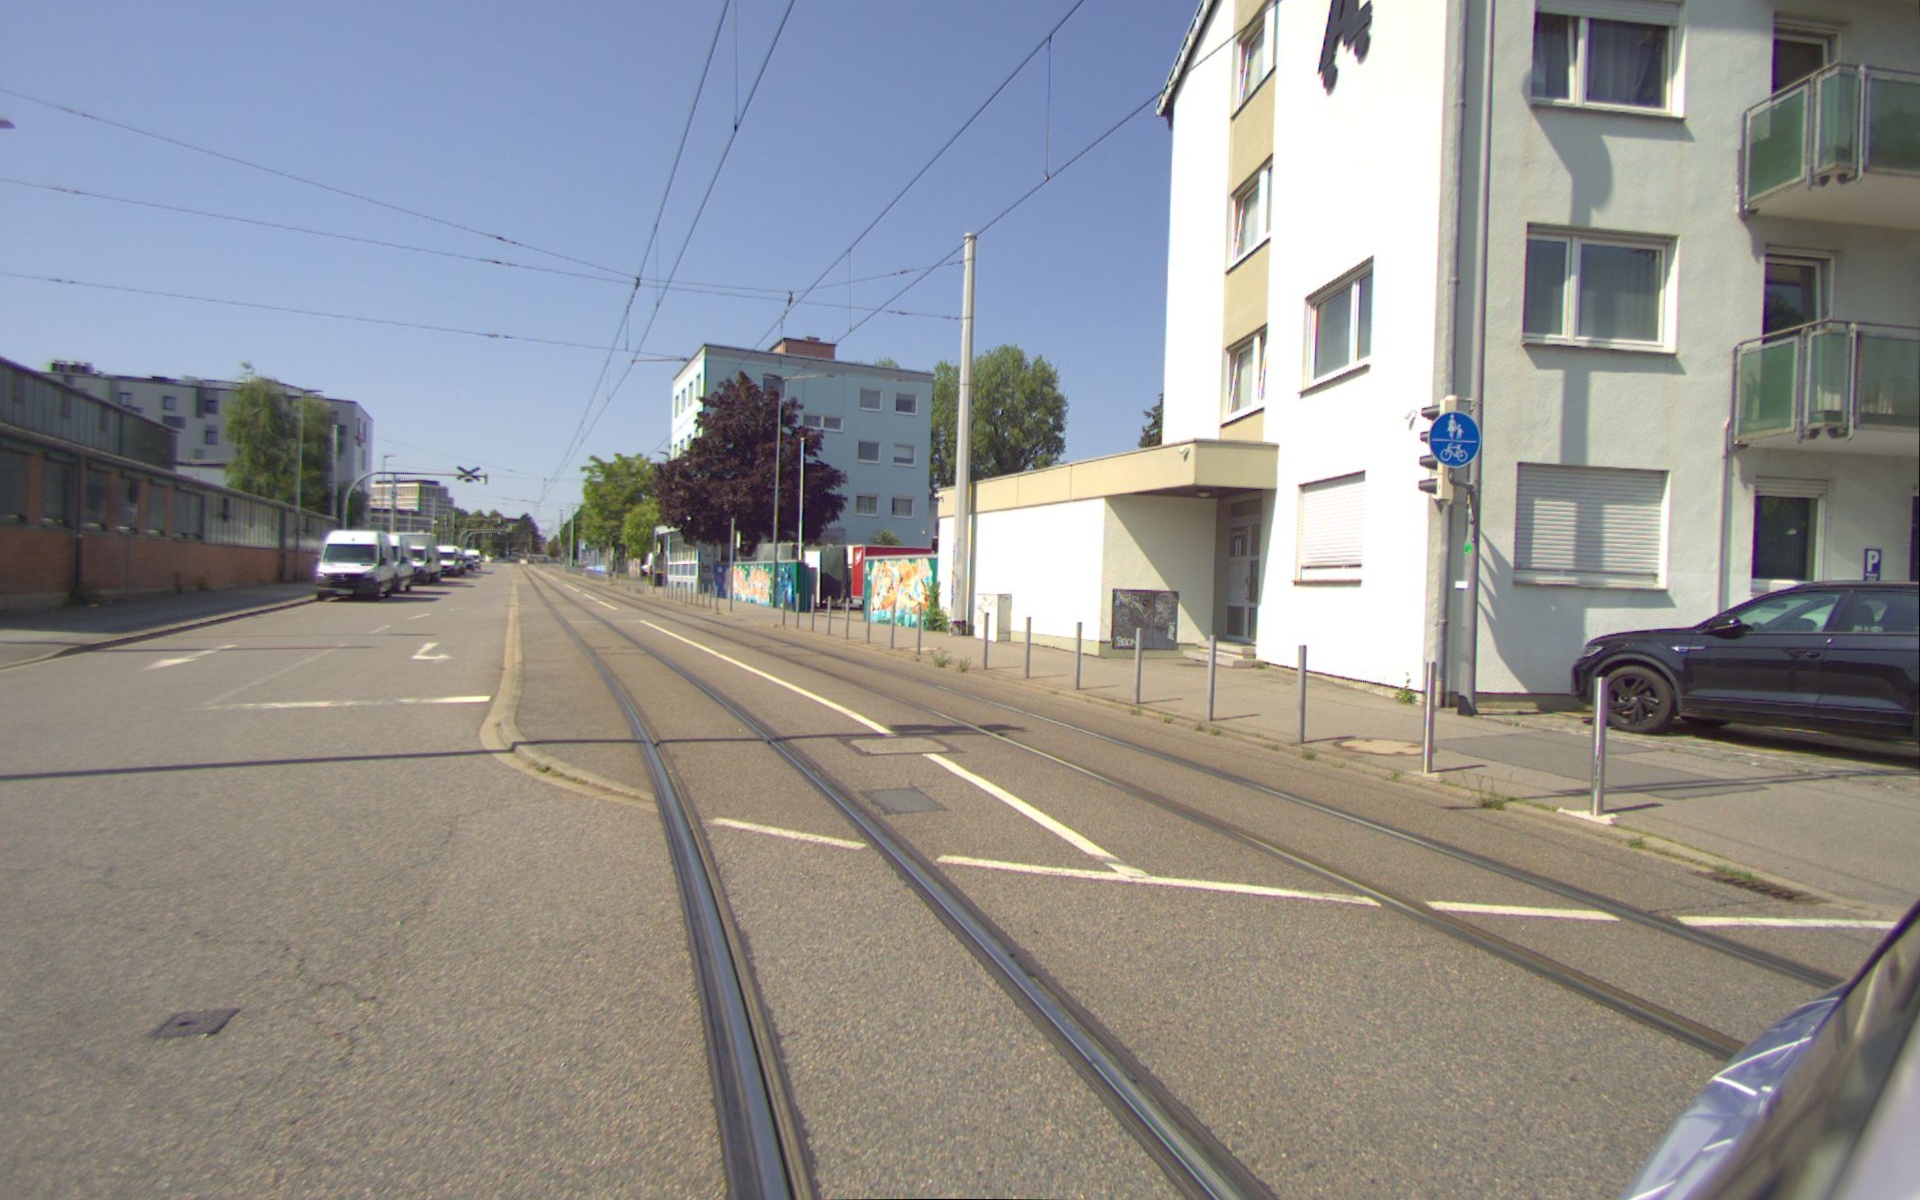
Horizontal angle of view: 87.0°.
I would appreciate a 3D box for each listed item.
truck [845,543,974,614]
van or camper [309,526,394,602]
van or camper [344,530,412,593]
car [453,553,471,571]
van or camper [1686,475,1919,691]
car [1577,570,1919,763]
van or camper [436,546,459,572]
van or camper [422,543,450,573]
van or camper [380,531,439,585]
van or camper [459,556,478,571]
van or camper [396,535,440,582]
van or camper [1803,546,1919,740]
[{"bbox_3d":[-2.083,-0.869,41.226,4.732,2.659,2.194,2,1,-19],"label":"truck"},{"bbox_3d":[-22.957,-1.361,38.373,2.001,2.565,5.881,2,1,-24],"label":"van or camper"},{"bbox_3d":[-25.908,-1.724,45.240,2.001,2.565,5.593,2,1,-24],"label":"van or camper"},{"bbox_3d":[-60.839,-4.611,123.621,1.789,2.038,3.843,2,1,-24],"label":"car"},{"bbox_3d":[18.276,-0.171,16.277,2.723,3.737,11.666,2,2,-13],"label":"van or camper"},{"bbox_3d":[8.252,0.552,9.302,1.842,1.540,3.978,2,1,-31],"label":"car"},{"bbox_3d":[-47.661,-3.820,94.157,1.789,2.239,4.267,2,1,-27],"label":"van or camper"},{"bbox_3d":[-42.483,-3.399,82.126,1.918,2.239,4.917,2,1,-27],"label":"van or camper"},{"bbox_3d":[-31.896,-2.437,58.880,2.472,2.821,7.131,2,1,-25],"label":"van or camper"},{"bbox_3d":[-67.877,-5.020,139.827,1.958,2.038,4.009,2,1,-22],"label":"van or camper"},{"bbox_3d":[-34.837,-2.666,65.193,2.132,2.821,4.741,2,1,-25],"label":"van or camper"},{"bbox_3d":[11.028,0.528,9.304,1.959,1.931,4.565,2,2,-26],"label":"van or camper"}]
